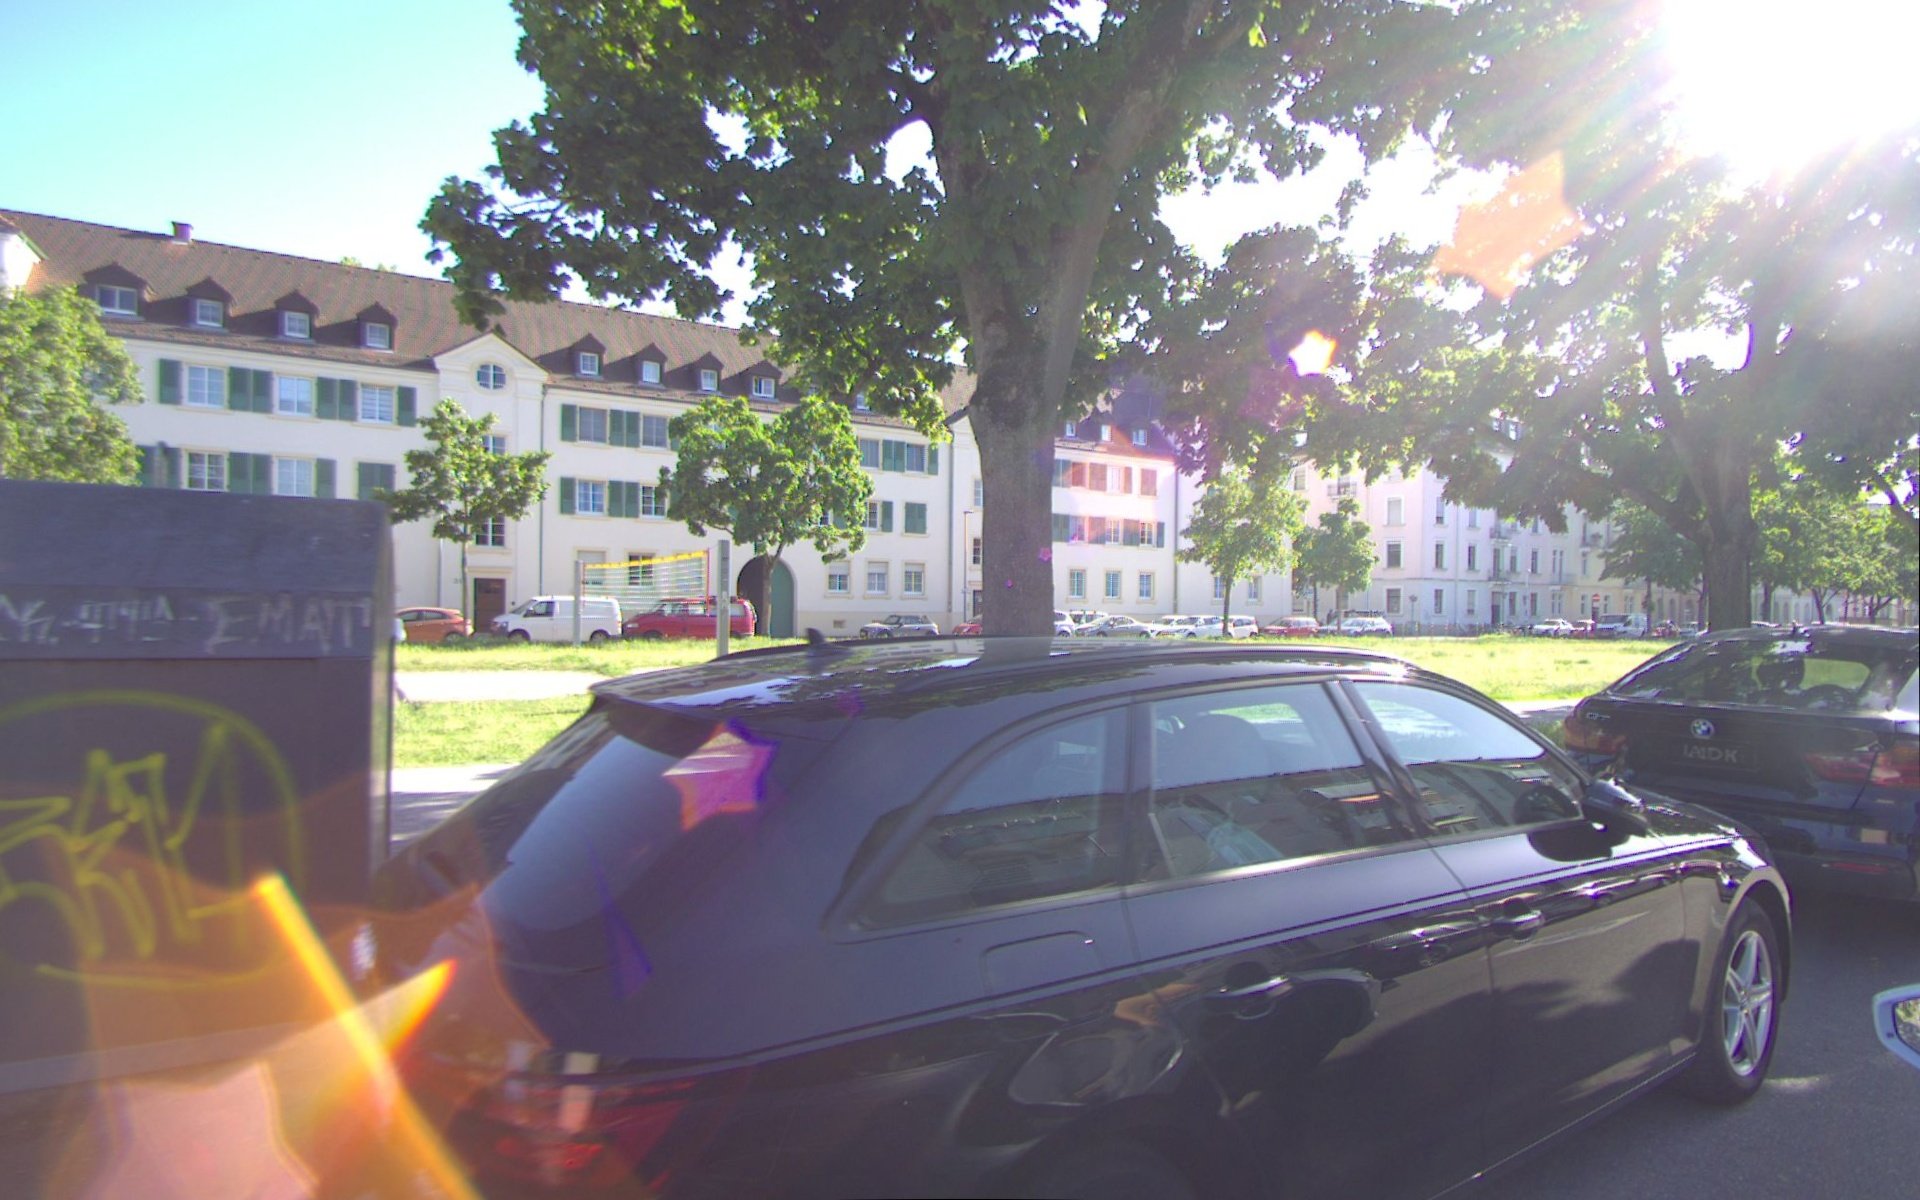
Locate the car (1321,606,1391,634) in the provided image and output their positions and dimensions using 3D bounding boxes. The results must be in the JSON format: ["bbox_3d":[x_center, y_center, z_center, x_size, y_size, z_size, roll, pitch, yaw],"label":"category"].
[{"bbox_3d":[30.117,1.523,76.464,2.118,2.040,4.533,1,0,-34],"label":"car"}]

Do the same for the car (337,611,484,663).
[{"bbox_3d":[-20.137,1.314,36.863,4.596,1.787,1.981,1,0,-34],"label":"car"}]

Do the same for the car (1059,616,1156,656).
[{"bbox_3d":[6.989,1.677,47.627,3.961,1.773,2.306,1,0,-30],"label":"car"}]

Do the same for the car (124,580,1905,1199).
[{"bbox_3d":[0.837,0.768,2.989,4.916,1.471,1.824,1,-1,-34],"label":"car"}]

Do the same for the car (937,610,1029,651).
[{"bbox_3d":[1.171,1.514,50.503,4.122,1.930,2.250,1,0,-33],"label":"car"}]

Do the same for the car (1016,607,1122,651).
[{"bbox_3d":[5.826,1.515,53.604,5.202,2.245,2.516,1,0,-33],"label":"car"}]

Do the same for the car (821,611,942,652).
[{"bbox_3d":[-3.694,1.470,47.501,5.196,1.844,2.439,1,0,-30],"label":"car"}]

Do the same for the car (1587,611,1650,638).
[{"bbox_3d":[48.220,1.768,73.562,5.045,1.897,2.069,1,0,-34],"label":"car"}]

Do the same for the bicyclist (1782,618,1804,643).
[{"bbox_3d":[48.874,1.789,58.952,0.862,1.382,0.622,2,6,29],"label":"bicyclist"}]

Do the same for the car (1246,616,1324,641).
[{"bbox_3d":[20.175,1.774,62.281,4.904,1.504,1.983,1,-1,-32],"label":"car"}]

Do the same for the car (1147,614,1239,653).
[{"bbox_3d":[11.749,1.655,50.616,4.213,1.844,2.222,1,0,-34],"label":"car"}]

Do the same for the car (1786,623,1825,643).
[{"bbox_3d":[76.685,2.968,91.097,4.039,1.709,1.621,1,0,-34],"label":"car"}]

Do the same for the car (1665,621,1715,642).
[{"bbox_3d":[57.333,2.430,78.885,4.649,1.582,1.683,1,0,-34],"label":"car"}]

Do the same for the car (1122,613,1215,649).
[{"bbox_3d":[11.907,1.754,57.252,5.101,1.911,2.142,1,0,-32],"label":"car"}]

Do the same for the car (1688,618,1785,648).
[{"bbox_3d":[44.513,1.859,57.714,4.276,1.597,1.923,0,-1,35],"label":"car"}]

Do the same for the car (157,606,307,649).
[{"bbox_3d":[-24.560,0.915,34.065,3.956,1.374,1.759,1,0,-32],"label":"car"}]

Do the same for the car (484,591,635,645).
[{"bbox_3d":[-15.774,0.706,39.676,5.203,2.011,2.207,1,0,-34],"label":"car"}]

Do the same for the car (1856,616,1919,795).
[{"bbox_3d":[9.573,0.896,8.558,3.760,1.437,1.871,2,-2,-31],"label":"car"}]

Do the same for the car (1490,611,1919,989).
[{"bbox_3d":[5.593,0.868,6.176,5.104,1.536,1.981,1,-2,-34],"label":"car"}]

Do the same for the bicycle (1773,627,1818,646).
[{"bbox_3d":[48.864,2.119,58.735,1.948,1.030,0.657,1,0,34],"label":"bicycle"}]

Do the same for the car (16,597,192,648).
[{"bbox_3d":[-23.646,0.612,27.914,3.476,1.350,1.641,1,0,-33],"label":"car"}]

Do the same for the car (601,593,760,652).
[{"bbox_3d":[-10.195,0.806,36.806,5.203,2.011,2.207,1,0,-34],"label":"car"}]

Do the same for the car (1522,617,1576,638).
[{"bbox_3d":[45.978,2.128,78.373,4.408,1.608,1.980,1,0,-35],"label":"car"}]

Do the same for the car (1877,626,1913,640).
[{"bbox_3d":[96.751,3.416,103.912,3.731,1.459,1.836,1,0,-31],"label":"car"}]

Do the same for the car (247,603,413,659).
[{"bbox_3d":[-19.246,0.918,30.854,4.189,1.604,1.779,1,0,-33],"label":"car"}]

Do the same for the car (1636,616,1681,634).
[{"bbox_3d":[52.907,1.875,76.075,3.489,1.296,1.683,1,0,-34],"label":"car"}]

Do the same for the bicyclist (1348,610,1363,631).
[{"bbox_3d":[26.739,1.385,67.928,0.776,1.382,0.529,1,0,-31],"label":"bicyclist"}]

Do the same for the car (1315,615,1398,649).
[{"bbox_3d":[22.690,1.815,57.416,4.655,1.844,2.145,1,0,-33],"label":"car"}]

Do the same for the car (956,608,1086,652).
[{"bbox_3d":[2.749,1.326,44.979,5.389,1.844,2.439,1,0,-30],"label":"car"}]

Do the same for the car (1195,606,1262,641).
[{"bbox_3d":[15.983,1.400,59.713,3.854,2.040,1.656,2,-1,-32],"label":"car"}]
